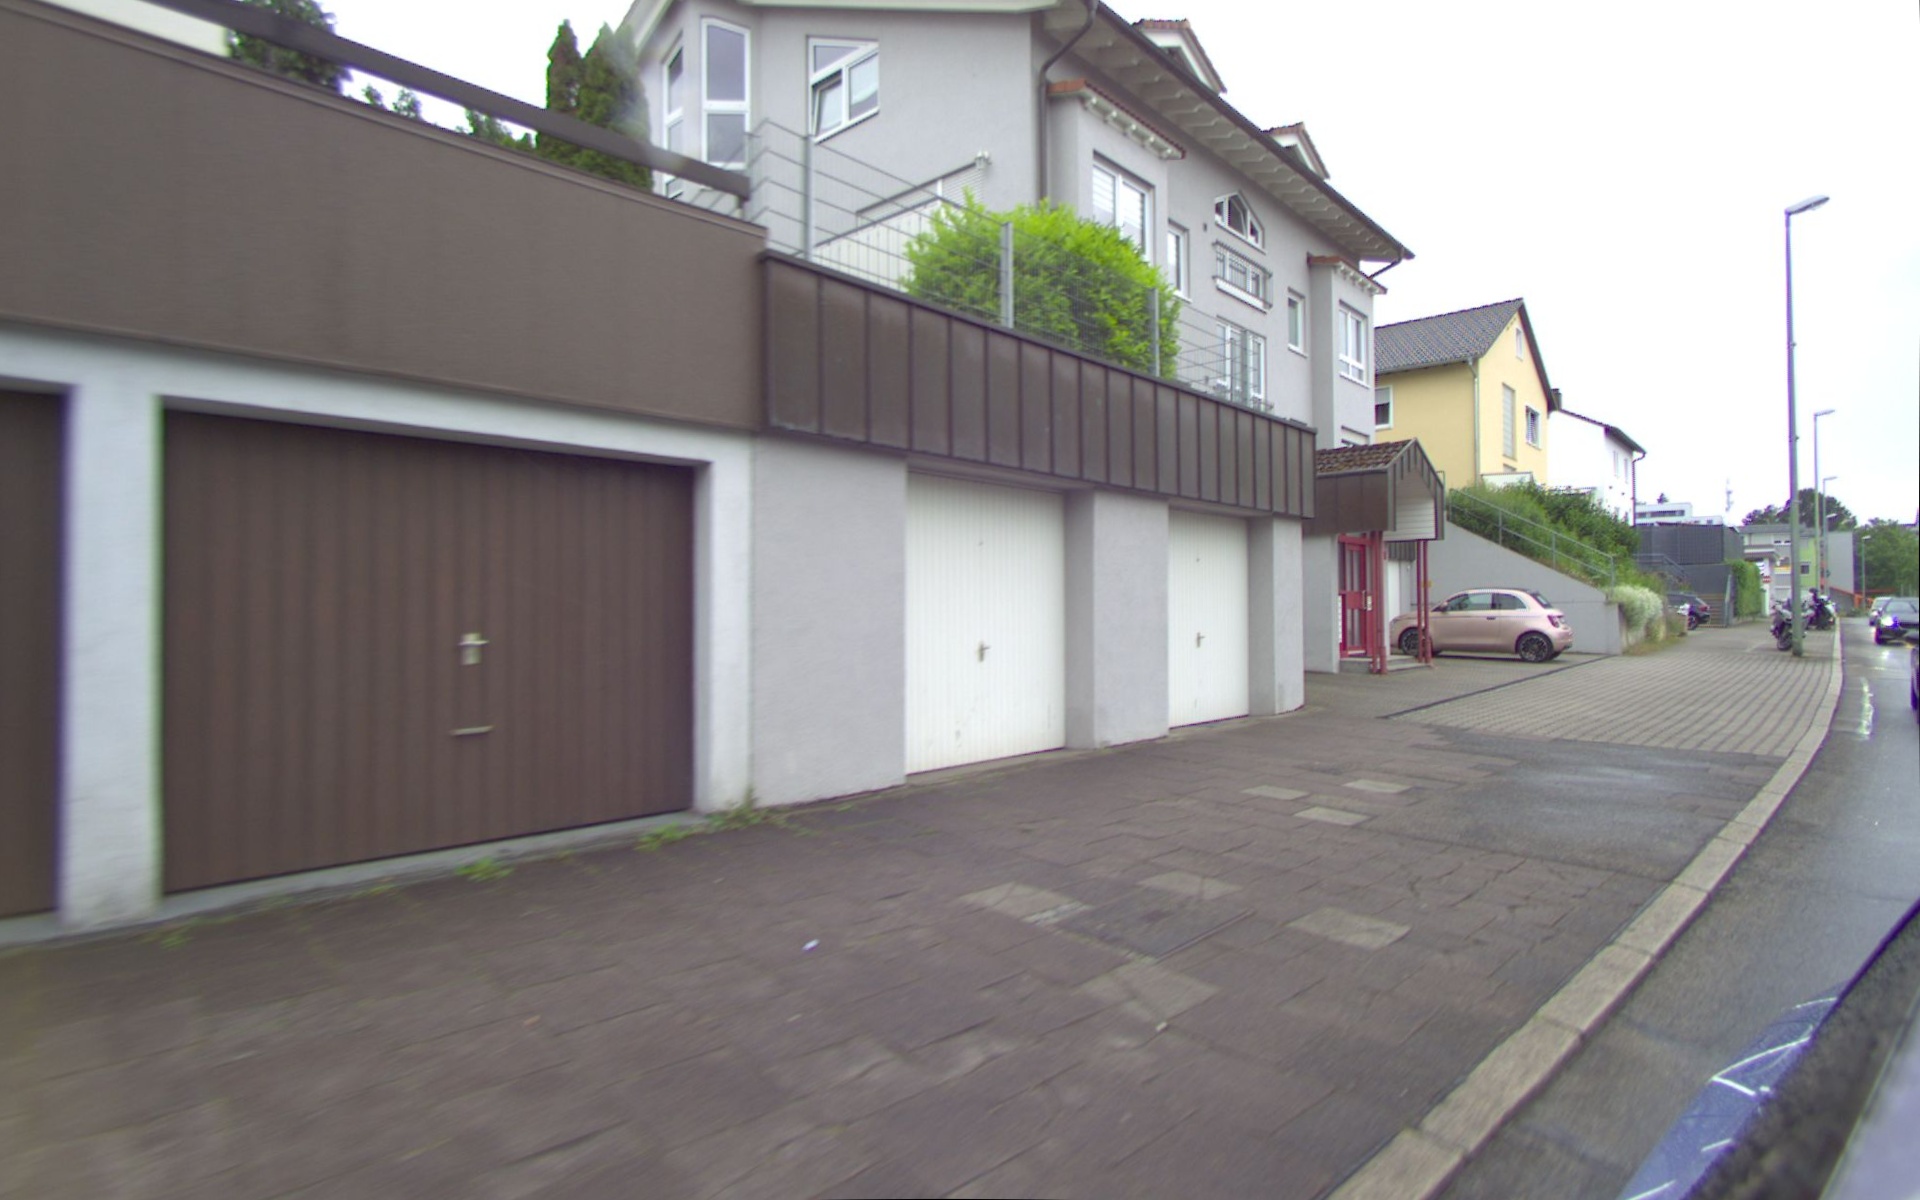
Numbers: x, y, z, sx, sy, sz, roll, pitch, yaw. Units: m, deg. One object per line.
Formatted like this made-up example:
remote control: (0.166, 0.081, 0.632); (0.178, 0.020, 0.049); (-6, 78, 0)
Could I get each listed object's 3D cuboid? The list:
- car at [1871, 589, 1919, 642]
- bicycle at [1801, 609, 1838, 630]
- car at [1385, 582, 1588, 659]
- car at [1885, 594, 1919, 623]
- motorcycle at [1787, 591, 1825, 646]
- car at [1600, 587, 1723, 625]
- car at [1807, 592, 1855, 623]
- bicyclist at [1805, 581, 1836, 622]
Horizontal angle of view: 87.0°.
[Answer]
car: (30.620, 0.532, 32.626); (1.835, 1.476, 3.937); (1, -3, 43)
bicycle: (35.708, 0.804, 42.033); (2.193, 0.837, 0.733); (0, 1, -38)
car: (11.312, 0.407, 21.826); (3.625, 1.504, 1.787); (0, 0, 39)
car: (51.425, 0.491, 54.766); (1.834, 1.500, 3.941); (1, -1, 40)
motorcycle: (21.579, 0.448, 25.805); (0.691, 1.341, 2.442); (1, 1, 41)
car: (28.182, 0.196, 40.725); (3.976, 1.420, 1.652); (1, 1, 37)
car: (44.688, 0.338, 51.880); (1.732, 1.508, 3.938); (1, 1, 43)
bicyclist: (35.760, 0.052, 42.064); (0.889, 1.663, 0.809); (0, 0, -38)
